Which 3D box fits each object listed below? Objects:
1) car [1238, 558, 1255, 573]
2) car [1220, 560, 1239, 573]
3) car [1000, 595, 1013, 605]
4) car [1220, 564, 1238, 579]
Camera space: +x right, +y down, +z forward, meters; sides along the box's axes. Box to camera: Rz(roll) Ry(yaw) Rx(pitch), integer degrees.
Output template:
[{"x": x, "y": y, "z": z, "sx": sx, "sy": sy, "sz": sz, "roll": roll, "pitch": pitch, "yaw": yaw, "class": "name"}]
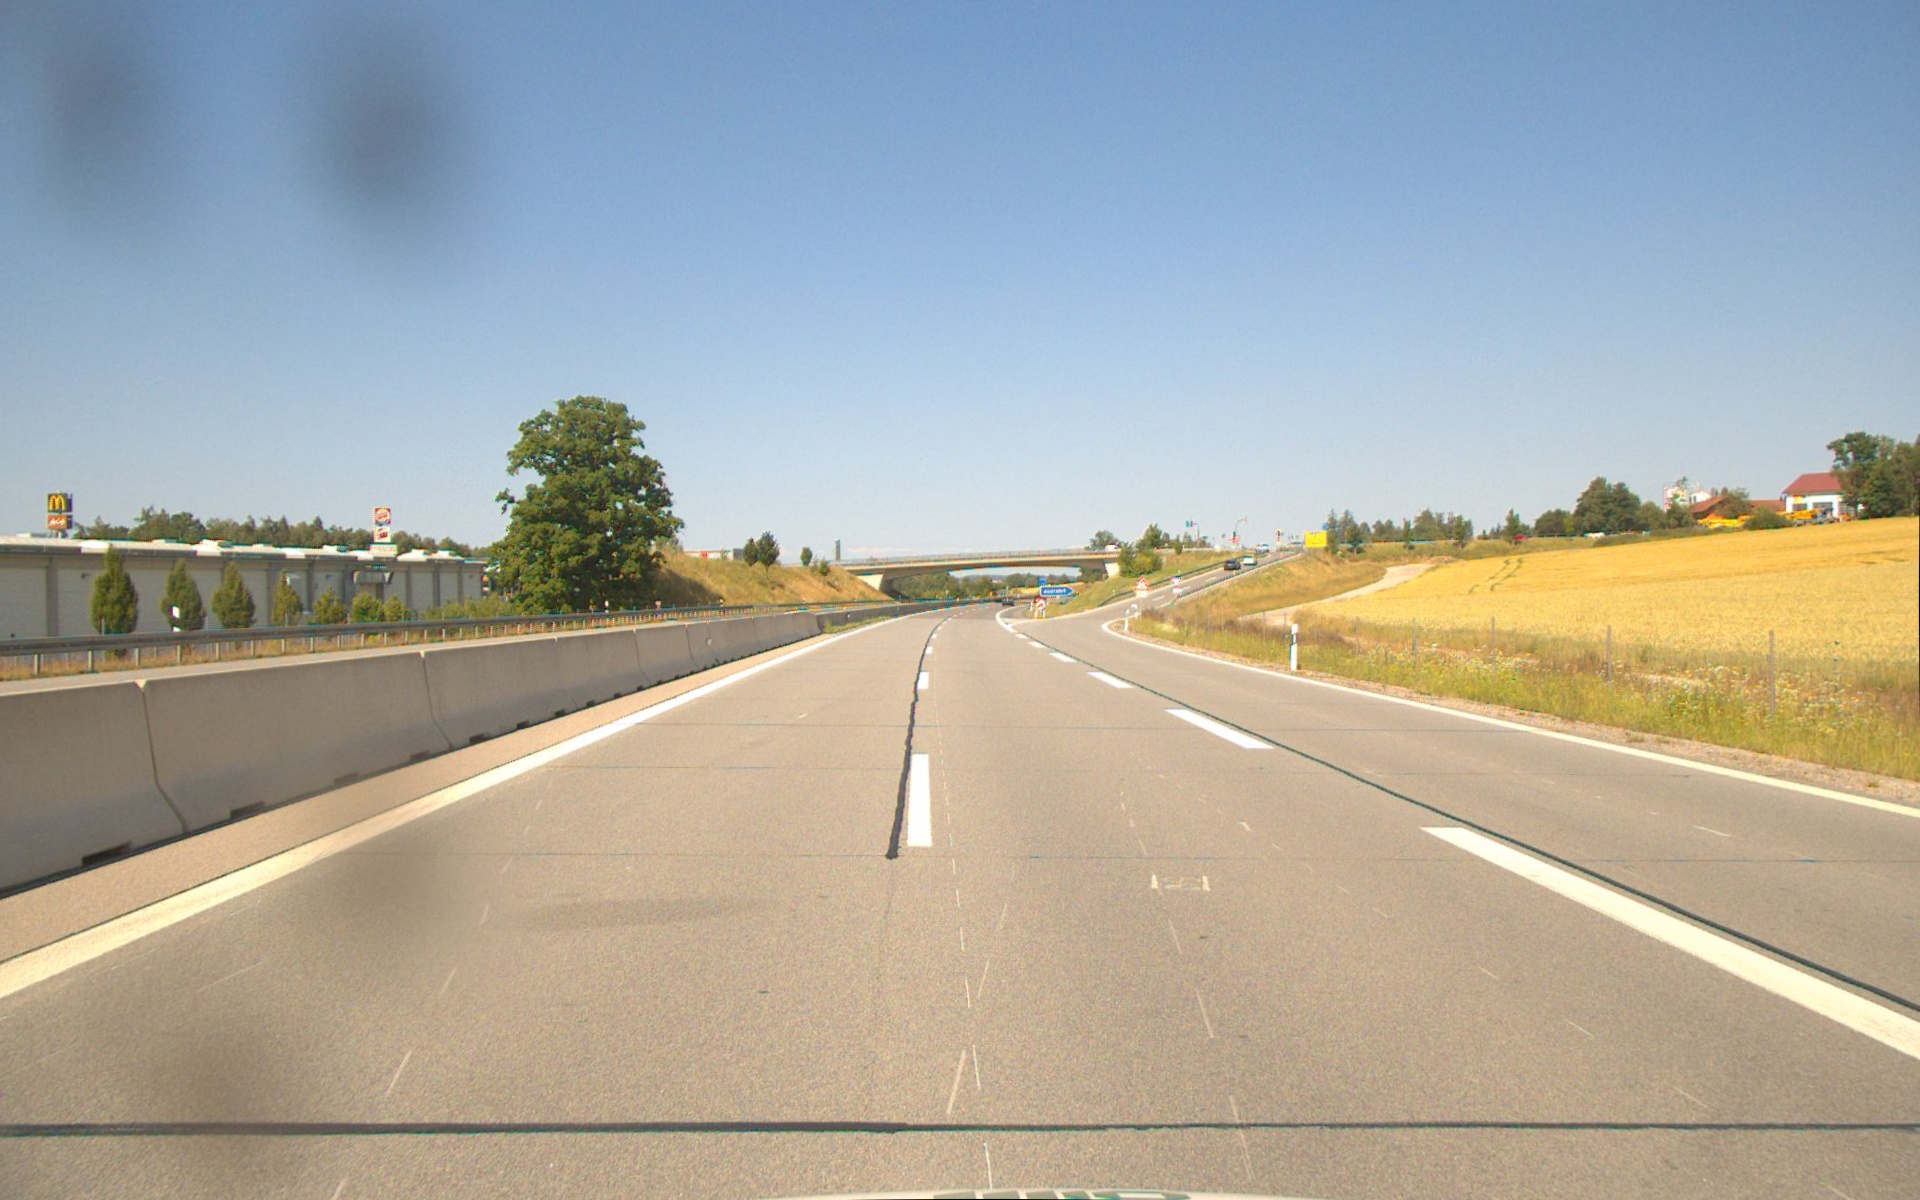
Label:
[{"x": 42.786, "y": -5.125, "z": 246.607, "sx": 1.951, "sy": 2.049, "sz": 4.003, "roll": -2, "pitch": 0, "yaw": 17, "class": "car"}, {"x": 35.241, "y": -4.357, "z": 216.221, "sx": 1.951, "sy": 1.646, "sz": 4.003, "roll": -2, "pitch": 0, "yaw": 17, "class": "car"}, {"x": 7.062, "y": 0.044, "z": 253.035, "sx": 1.952, "sy": 1.445, "sz": 4.001, "roll": -2, "pitch": 0, "yaw": 2, "class": "car"}, {"x": 38.166, "y": -3.988, "z": 234.362, "sx": 1.951, "sy": 2.049, "sz": 4.003, "roll": -2, "pitch": 0, "yaw": 17, "class": "car"}]
